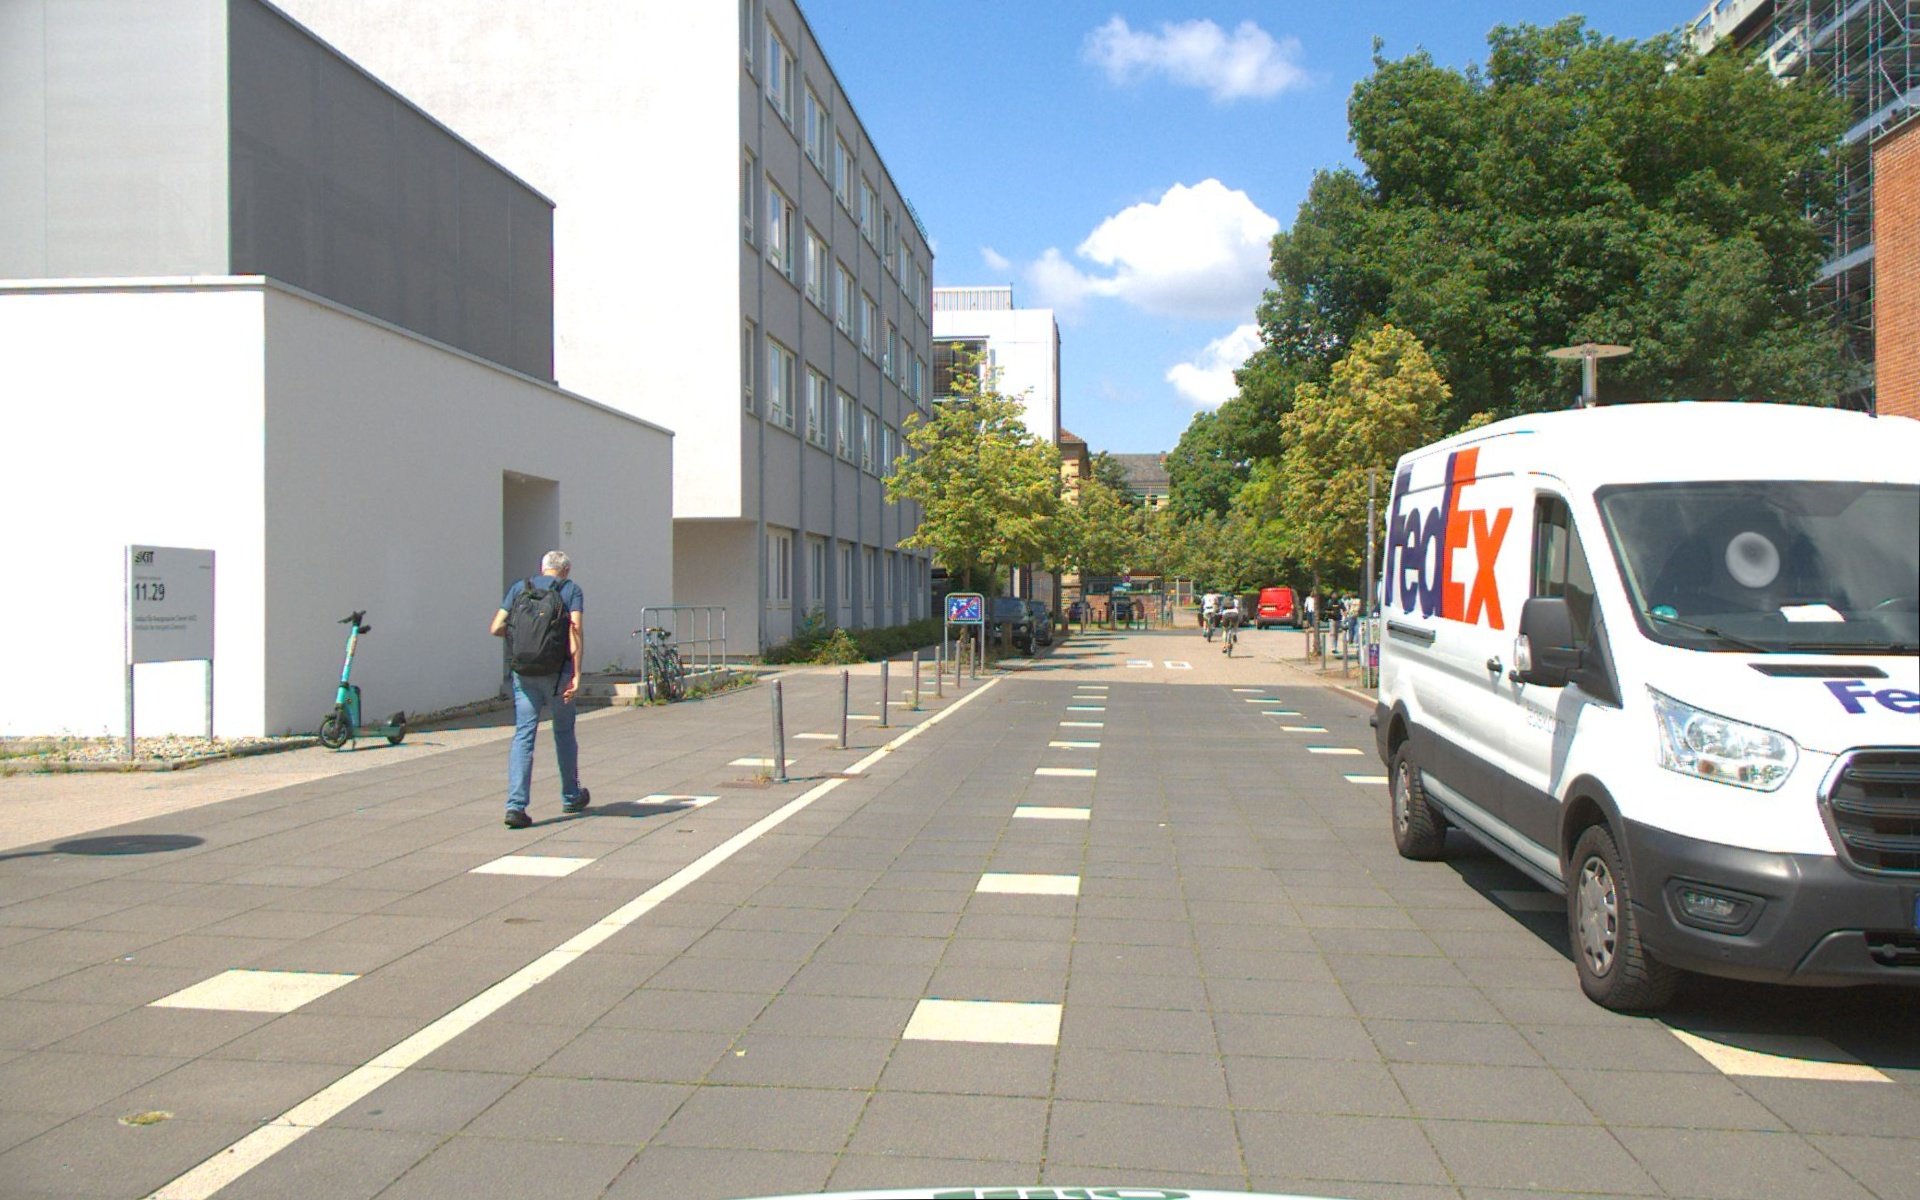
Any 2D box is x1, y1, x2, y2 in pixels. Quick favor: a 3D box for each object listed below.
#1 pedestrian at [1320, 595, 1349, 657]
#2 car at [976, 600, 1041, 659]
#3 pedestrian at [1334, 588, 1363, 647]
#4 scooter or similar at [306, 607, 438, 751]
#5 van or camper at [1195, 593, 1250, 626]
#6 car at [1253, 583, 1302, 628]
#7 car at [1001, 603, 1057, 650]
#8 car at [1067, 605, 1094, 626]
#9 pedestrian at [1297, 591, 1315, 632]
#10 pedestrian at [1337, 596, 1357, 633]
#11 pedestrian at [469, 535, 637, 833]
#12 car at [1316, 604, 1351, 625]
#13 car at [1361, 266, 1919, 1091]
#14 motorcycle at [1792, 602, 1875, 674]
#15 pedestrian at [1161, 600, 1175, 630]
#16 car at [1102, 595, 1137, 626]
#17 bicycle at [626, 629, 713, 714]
[{"bbox_3d":[10.537,0.733,46.573,0.628,1.726,0.792,0,0,0],"label":"pedestrian"},{"bbox_3d":[1.416,0.795,46.956,1.661,1.591,4.070,0,0,4],"label":"car"},{"bbox_3d":[12.102,0.543,51.563,0.831,1.795,0.716,-1,-1,10],"label":"pedestrian"},{"bbox_3d":[-5.498,0.711,15.534,0.472,1.285,1.314,0,0,18],"label":"scooter or similar"},{"bbox_3d":[16.147,0.562,101.495,1.915,1.957,5.416,1,0,25],"label":"van or camper"},{"bbox_3d":[14.386,0.254,74.811,1.809,1.924,4.894,-1,0,15],"label":"car"},{"bbox_3d":[2.324,0.855,54.930,1.740,1.486,4.261,1,0,4],"label":"car"},{"bbox_3d":[8.075,1.013,110.551,1.779,1.347,3.770,0,0,5],"label":"car"},{"bbox_3d":[15.192,0.505,72.582,0.680,1.812,0.787,-1,-1,7],"label":"pedestrian"},{"bbox_3d":[19.063,0.714,81.477,0.714,1.853,0.623,0,-1,-30],"label":"pedestrian"},{"bbox_3d":[-2.646,0.526,10.867,0.806,1.849,1.144,0,0,0],"label":"pedestrian"},{"bbox_3d":[28.288,1.063,125.224,1.725,1.548,4.107,-1,0,26],"label":"car"},{"bbox_3d":[3.517,0.241,8.093,2.016,2.588,5.852,-1,0,4],"label":"car"},{"bbox_3d":[16.893,0.708,32.049,0.681,1.346,2.221,0,0,8],"label":"motorcycle"},{"bbox_3d":[12.615,0.904,100.500,0.572,1.795,0.910,-1,-1,25],"label":"pedestrian"},{"bbox_3d":[10.579,0.695,110.134,2.129,1.959,5.188,0,0,4],"label":"car"},{"bbox_3d":[-3.964,0.954,22.698,0.531,1.080,1.901,0,0,10],"label":"bicycle"}]
